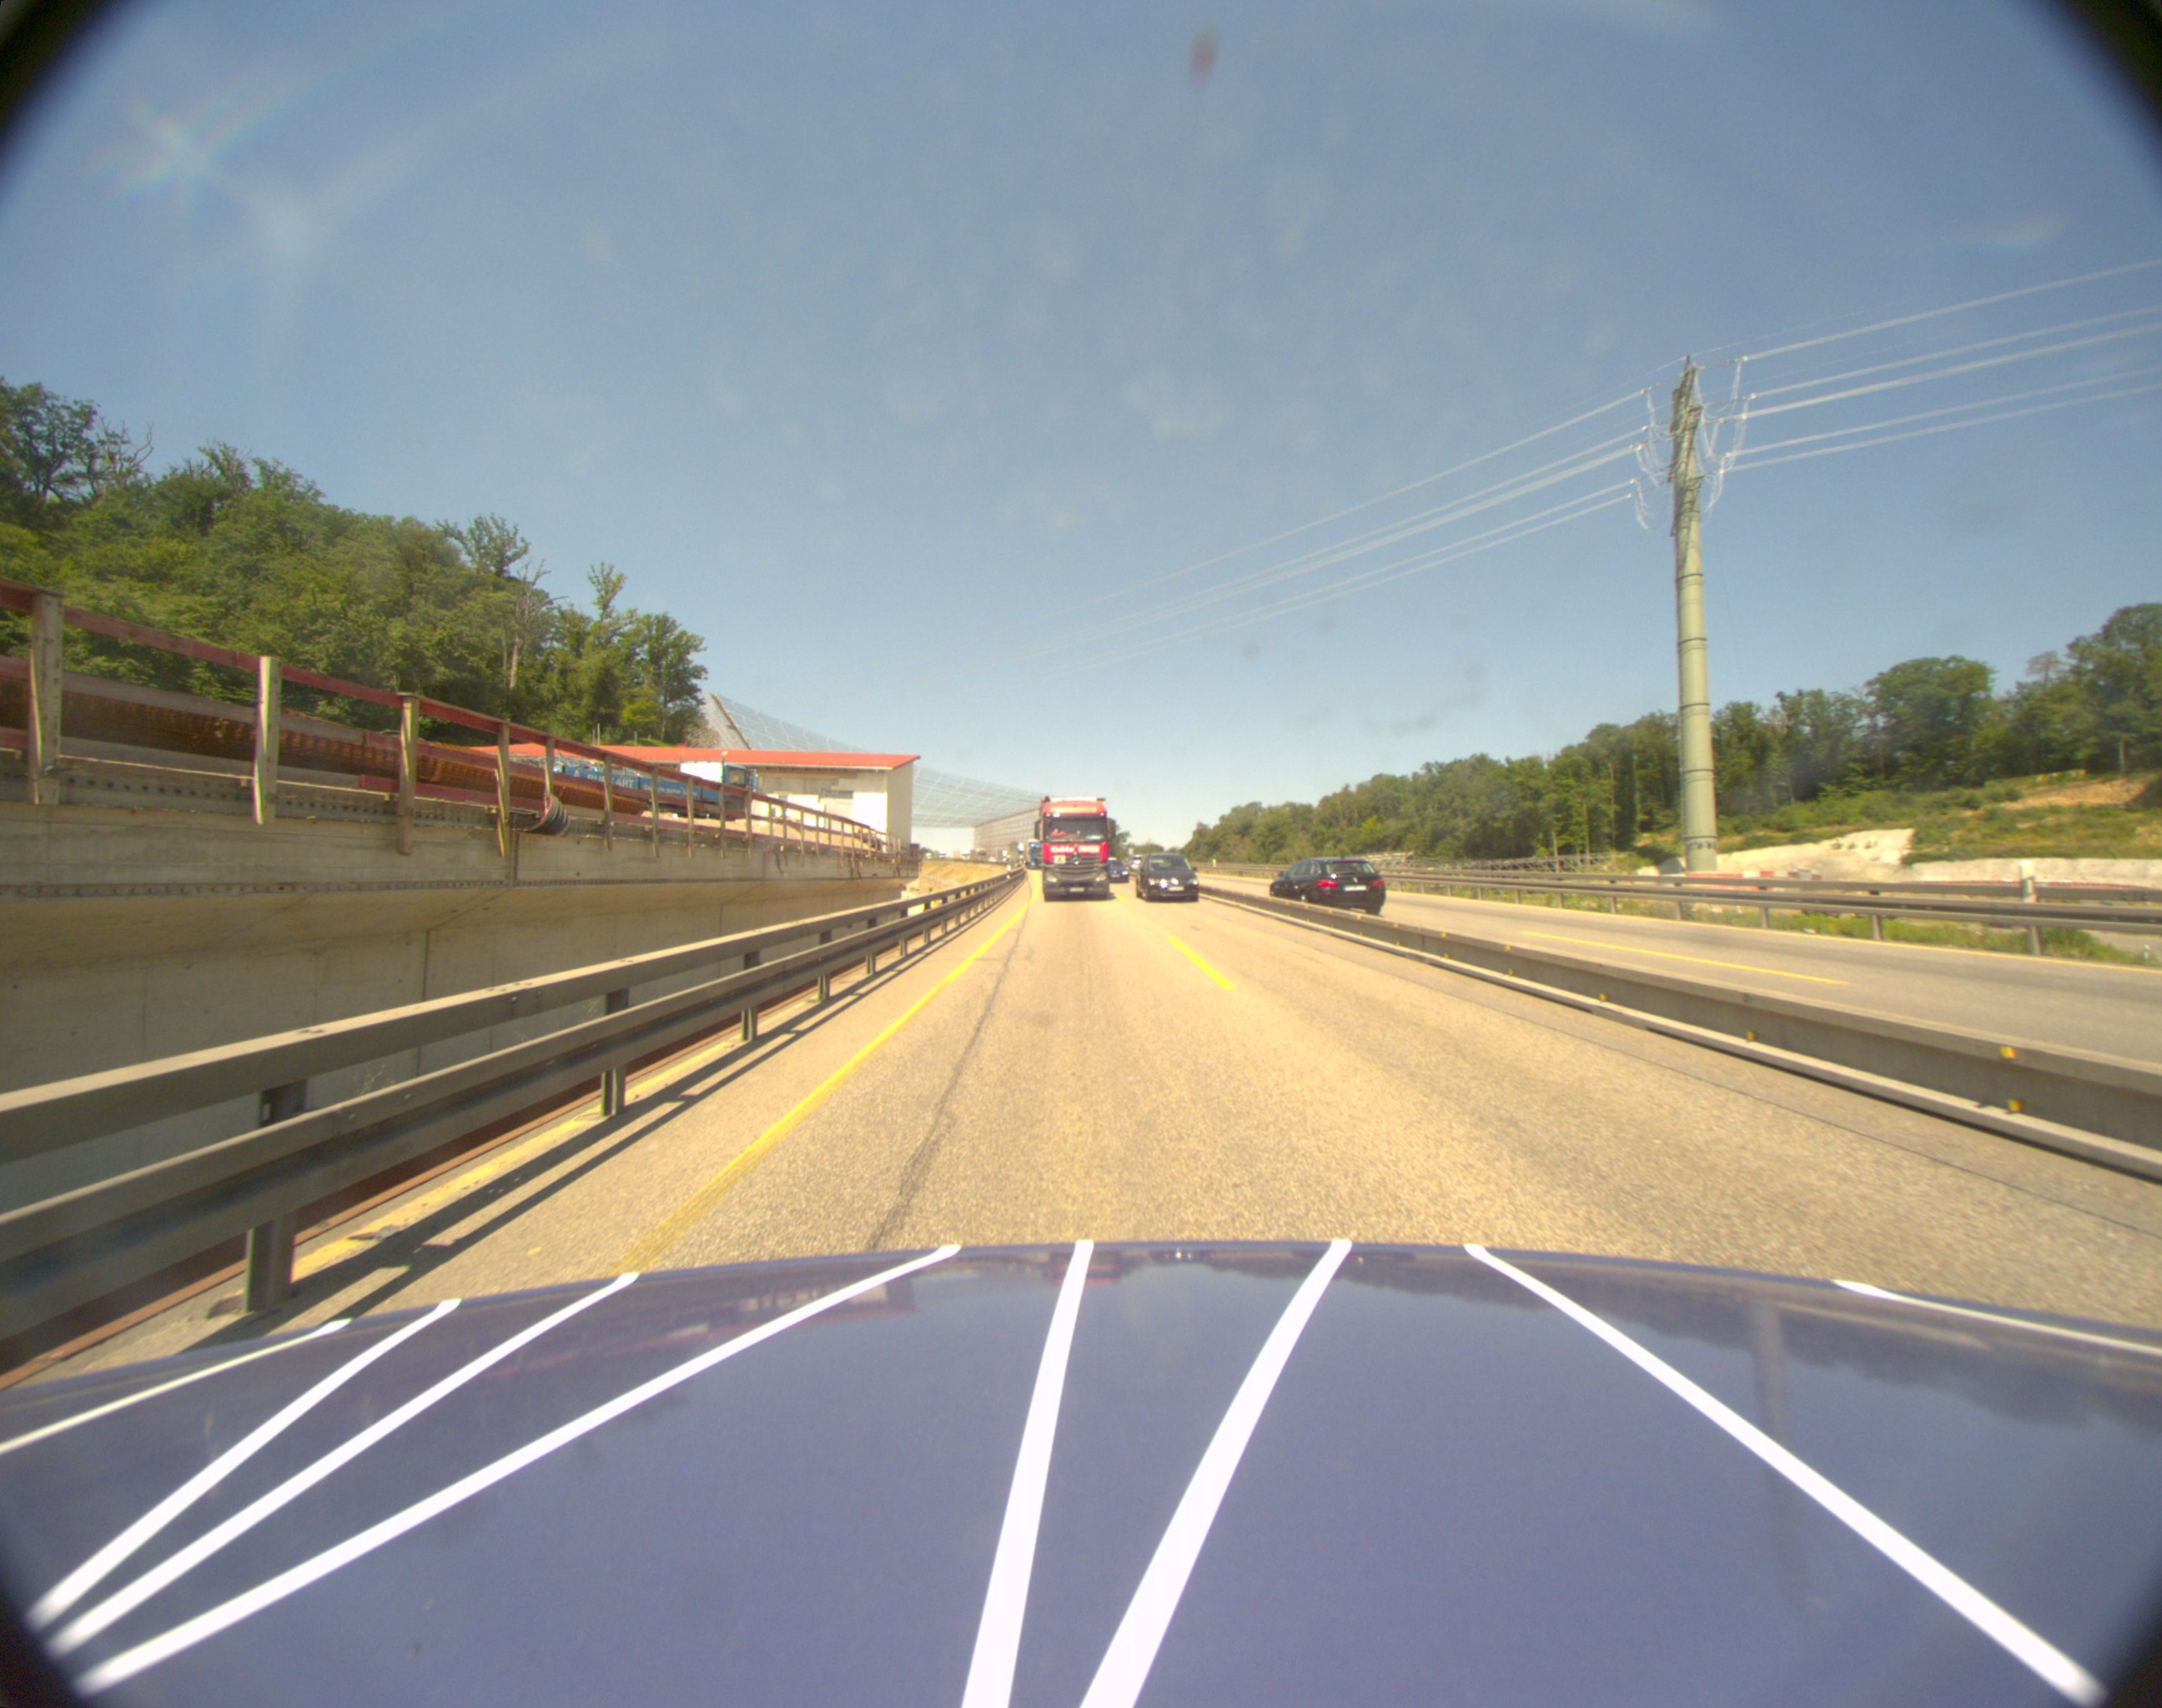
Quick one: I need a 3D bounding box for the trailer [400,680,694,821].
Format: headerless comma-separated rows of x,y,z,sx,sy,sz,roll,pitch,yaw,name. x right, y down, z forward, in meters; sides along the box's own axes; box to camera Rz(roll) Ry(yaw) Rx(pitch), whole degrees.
-19.402,-3.475,28.631,2.713,3.671,9.013,-1,-2,21,trailer

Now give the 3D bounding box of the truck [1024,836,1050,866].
-6.446,-0.452,108.992,2.673,3.986,10.420,-2,1,-9,truck

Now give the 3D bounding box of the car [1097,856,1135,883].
2.153,0.963,47.896,1.896,1.546,4.785,-1,-1,-3,car

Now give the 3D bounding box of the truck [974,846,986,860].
-30.459,-0.326,229.253,3.043,4.033,8.667,-2,1,-9,truck

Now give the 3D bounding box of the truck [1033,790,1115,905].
-0.385,-0.304,32.168,2.799,3.986,10.426,-2,1,-2,truck

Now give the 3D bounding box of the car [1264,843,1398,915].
6.400,0.541,20.106,1.998,1.630,4.853,-2,1,1,car

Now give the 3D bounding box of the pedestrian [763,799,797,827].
-13.132,-1.791,33.141,1.022,1.144,0.994,-1,1,4,pedestrian

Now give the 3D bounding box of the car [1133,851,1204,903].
3.080,0.793,27.882,1.861,1.695,5.303,-1,-1,-1,car

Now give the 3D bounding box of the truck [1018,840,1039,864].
-9.604,-0.446,138.247,2.911,4.207,9.233,-2,1,-8,truck

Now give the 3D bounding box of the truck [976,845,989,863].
-26.320,-0.042,202.425,3.043,4.778,8.933,-2,1,-9,truck

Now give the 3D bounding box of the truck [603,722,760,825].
-17.454,-3.334,33.635,2.713,3.671,5.722,-1,-2,21,truck

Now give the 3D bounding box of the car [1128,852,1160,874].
5.166,0.742,63.161,1.917,1.695,4.734,-2,0,-4,car

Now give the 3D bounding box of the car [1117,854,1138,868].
5.072,0.727,83.339,1.917,1.478,4.477,-2,0,-1,car
